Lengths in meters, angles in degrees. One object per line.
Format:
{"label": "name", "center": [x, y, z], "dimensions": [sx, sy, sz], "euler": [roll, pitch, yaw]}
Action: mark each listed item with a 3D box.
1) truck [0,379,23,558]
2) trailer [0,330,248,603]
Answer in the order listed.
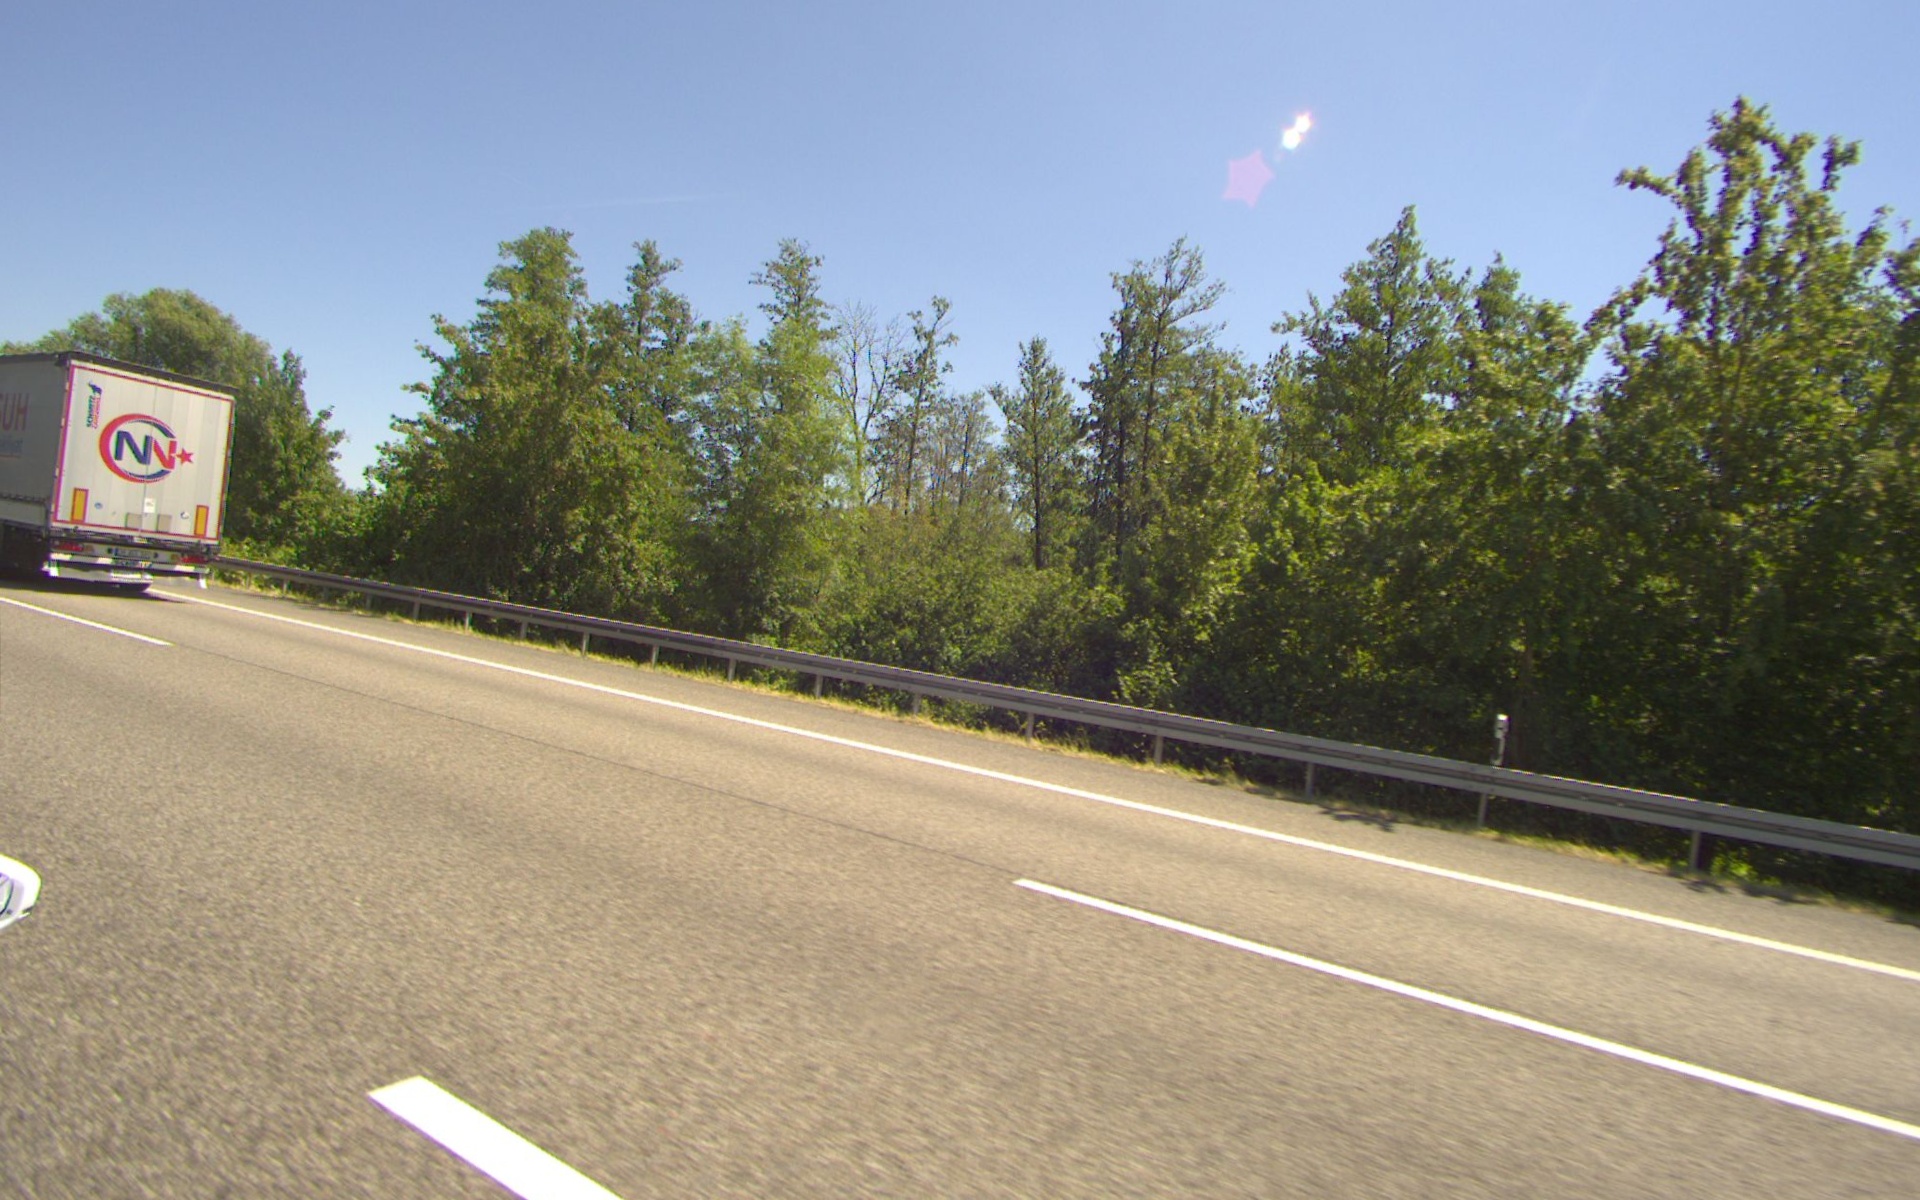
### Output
{"label": "truck", "center": [-26.348, -3.566, 25.125], "dimensions": [5.345, 4.337, 2.610], "euler": [7, -1, 31]}
{"label": "trailer", "center": [-20.188, -2.871, 21.370], "dimensions": [13.826, 4.311, 2.629], "euler": [6, -1, 31]}
